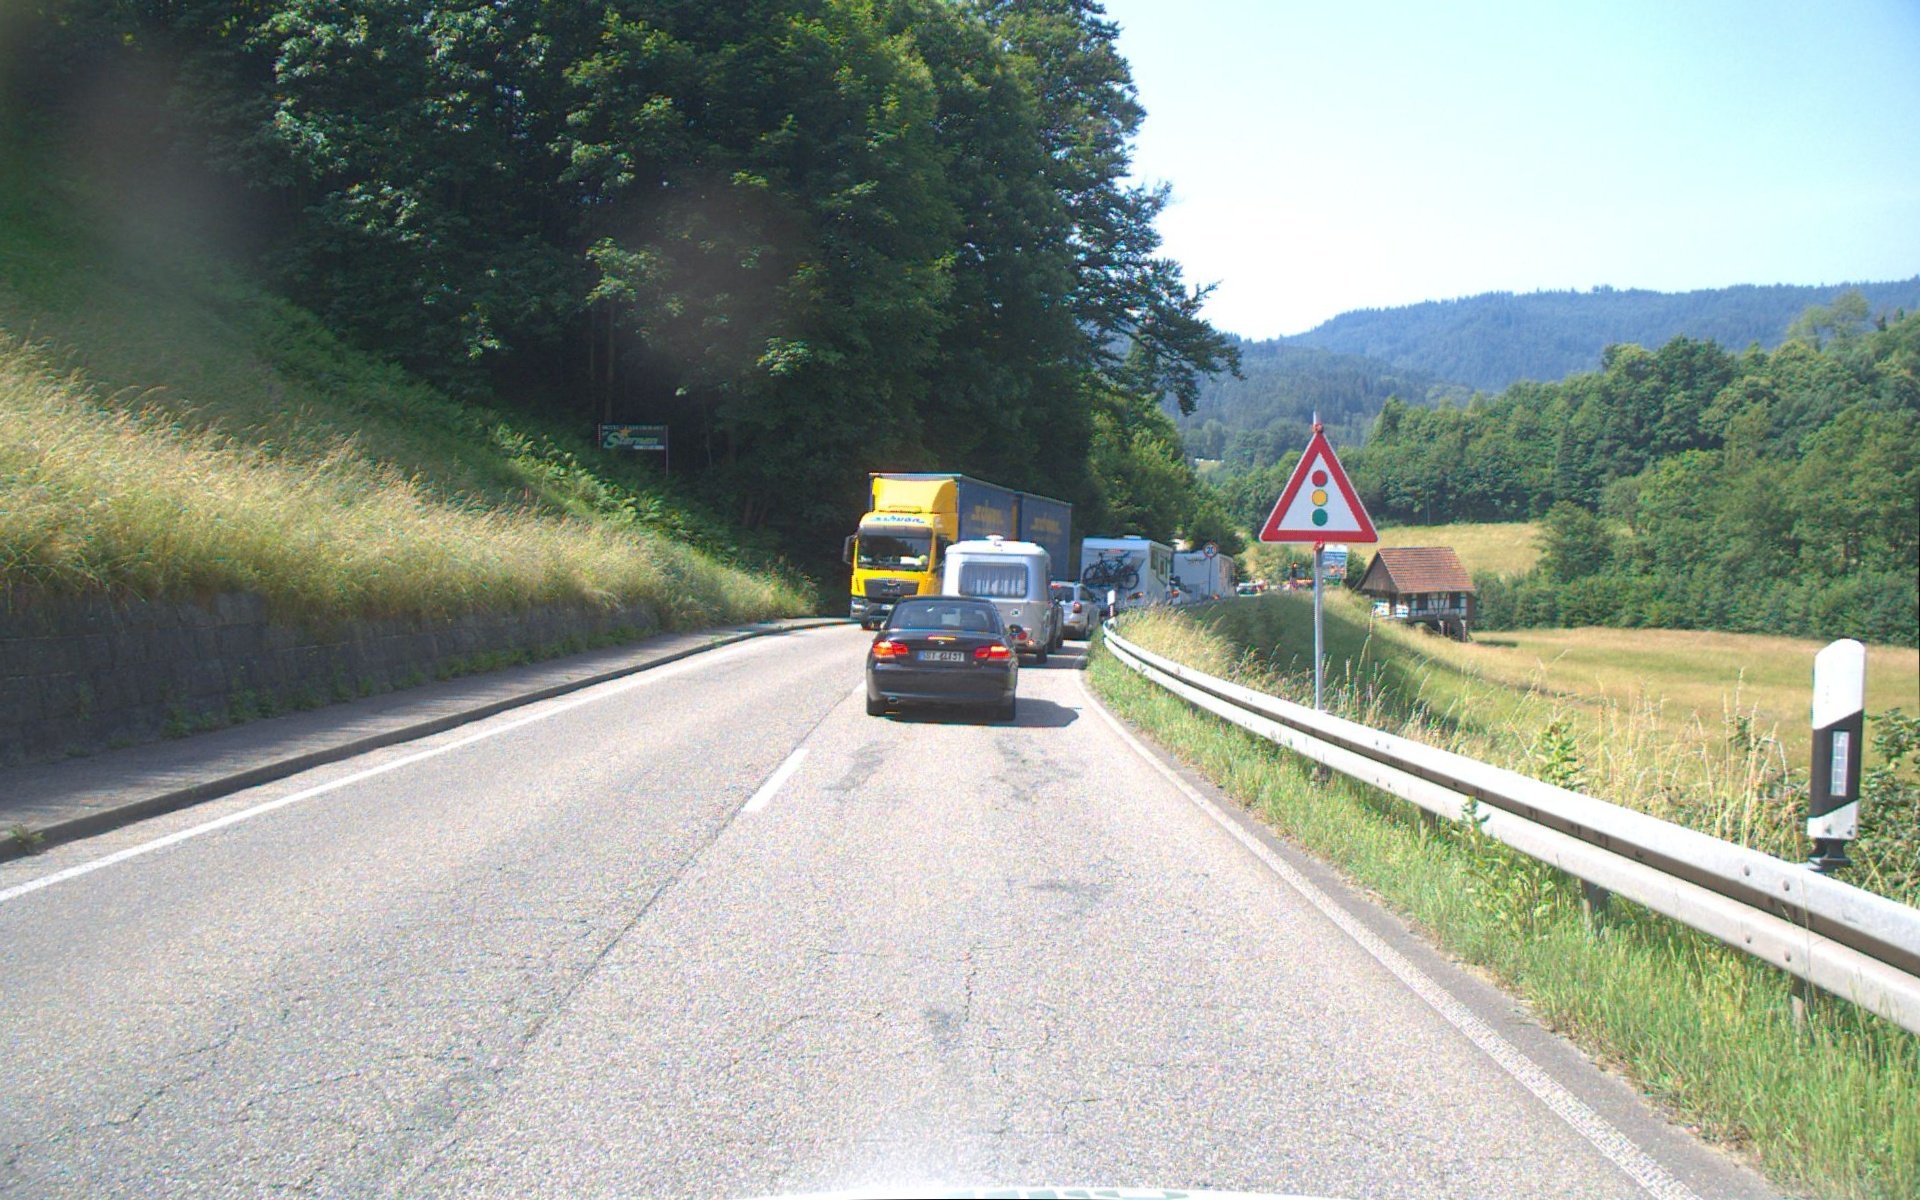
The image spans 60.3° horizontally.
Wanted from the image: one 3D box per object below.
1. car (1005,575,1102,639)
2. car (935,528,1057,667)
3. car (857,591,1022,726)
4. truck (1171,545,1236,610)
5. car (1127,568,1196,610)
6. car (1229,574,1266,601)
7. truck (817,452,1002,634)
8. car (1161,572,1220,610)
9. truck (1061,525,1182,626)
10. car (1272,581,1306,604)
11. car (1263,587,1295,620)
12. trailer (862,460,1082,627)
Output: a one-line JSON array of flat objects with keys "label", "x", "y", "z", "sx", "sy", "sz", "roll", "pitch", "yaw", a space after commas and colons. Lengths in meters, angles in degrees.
[{"label": "car", "x": 2.532, "y": 0.154, "z": 43.815, "sx": 1.951, "sy": 1.510, "sz": 4.004, "roll": 4, "pitch": 1, "yaw": 11}, {"label": "car", "x": 0.772, "y": -0.124, "z": 31.756, "sx": 1.951, "sy": 2.393, "sz": 4.918, "roll": 2, "pitch": 2, "yaw": 5}, {"label": "car", "x": -0.298, "y": 0.623, "z": 19.662, "sx": 1.736, "sy": 1.359, "sz": 3.765, "roll": 2, "pitch": 1, "yaw": -3}, {"label": "truck", "x": 11.552, "y": -1.008, "z": 78.134, "sx": 2.190, "sy": 2.853, "sz": 6.236, "roll": 2, "pitch": 0, "yaw": 16}, {"label": "car", "x": 8.050, "y": -0.456, "z": 65.790, "sx": 1.952, "sy": 1.489, "sz": 4.003, "roll": 4, "pitch": 2, "yaw": 17}, {"label": "car", "x": 17.378, "y": -0.750, "z": 99.830, "sx": 1.866, "sy": 1.512, "sz": 4.003, "roll": 2, "pitch": 0, "yaw": 15}, {"label": "truck", "x": -1.224, "y": -1.528, "z": 44.962, "sx": 3.121, "sy": 4.472, "sz": 6.577, "roll": 3, "pitch": 2, "yaw": 15}, {"label": "car", "x": 9.969, "y": -0.415, "z": 71.443, "sx": 1.750, "sy": 1.489, "sz": 4.002, "roll": 4, "pitch": 2, "yaw": 18}, {"label": "truck", "x": 5.586, "y": -0.839, "z": 56.097, "sx": 2.732, "sy": 3.049, "sz": 6.873, "roll": 4, "pitch": 2, "yaw": 16}, {"label": "car", "x": 25.230, "y": -0.589, "z": 126.819, "sx": 1.952, "sy": 1.603, "sz": 4.001, "roll": 2, "pitch": 0, "yaw": 20}, {"label": "car", "x": 21.111, "y": 0.254, "z": 109.415, "sx": 1.952, "sy": 1.958, "sz": 4.003, "roll": 5, "pitch": 1, "yaw": 11}, {"label": "trailer", "x": 0.851, "y": -1.677, "z": 52.943, "sx": 3.191, "sy": 4.494, "sz": 15.328, "roll": 2, "pitch": 1, "yaw": 15}]
